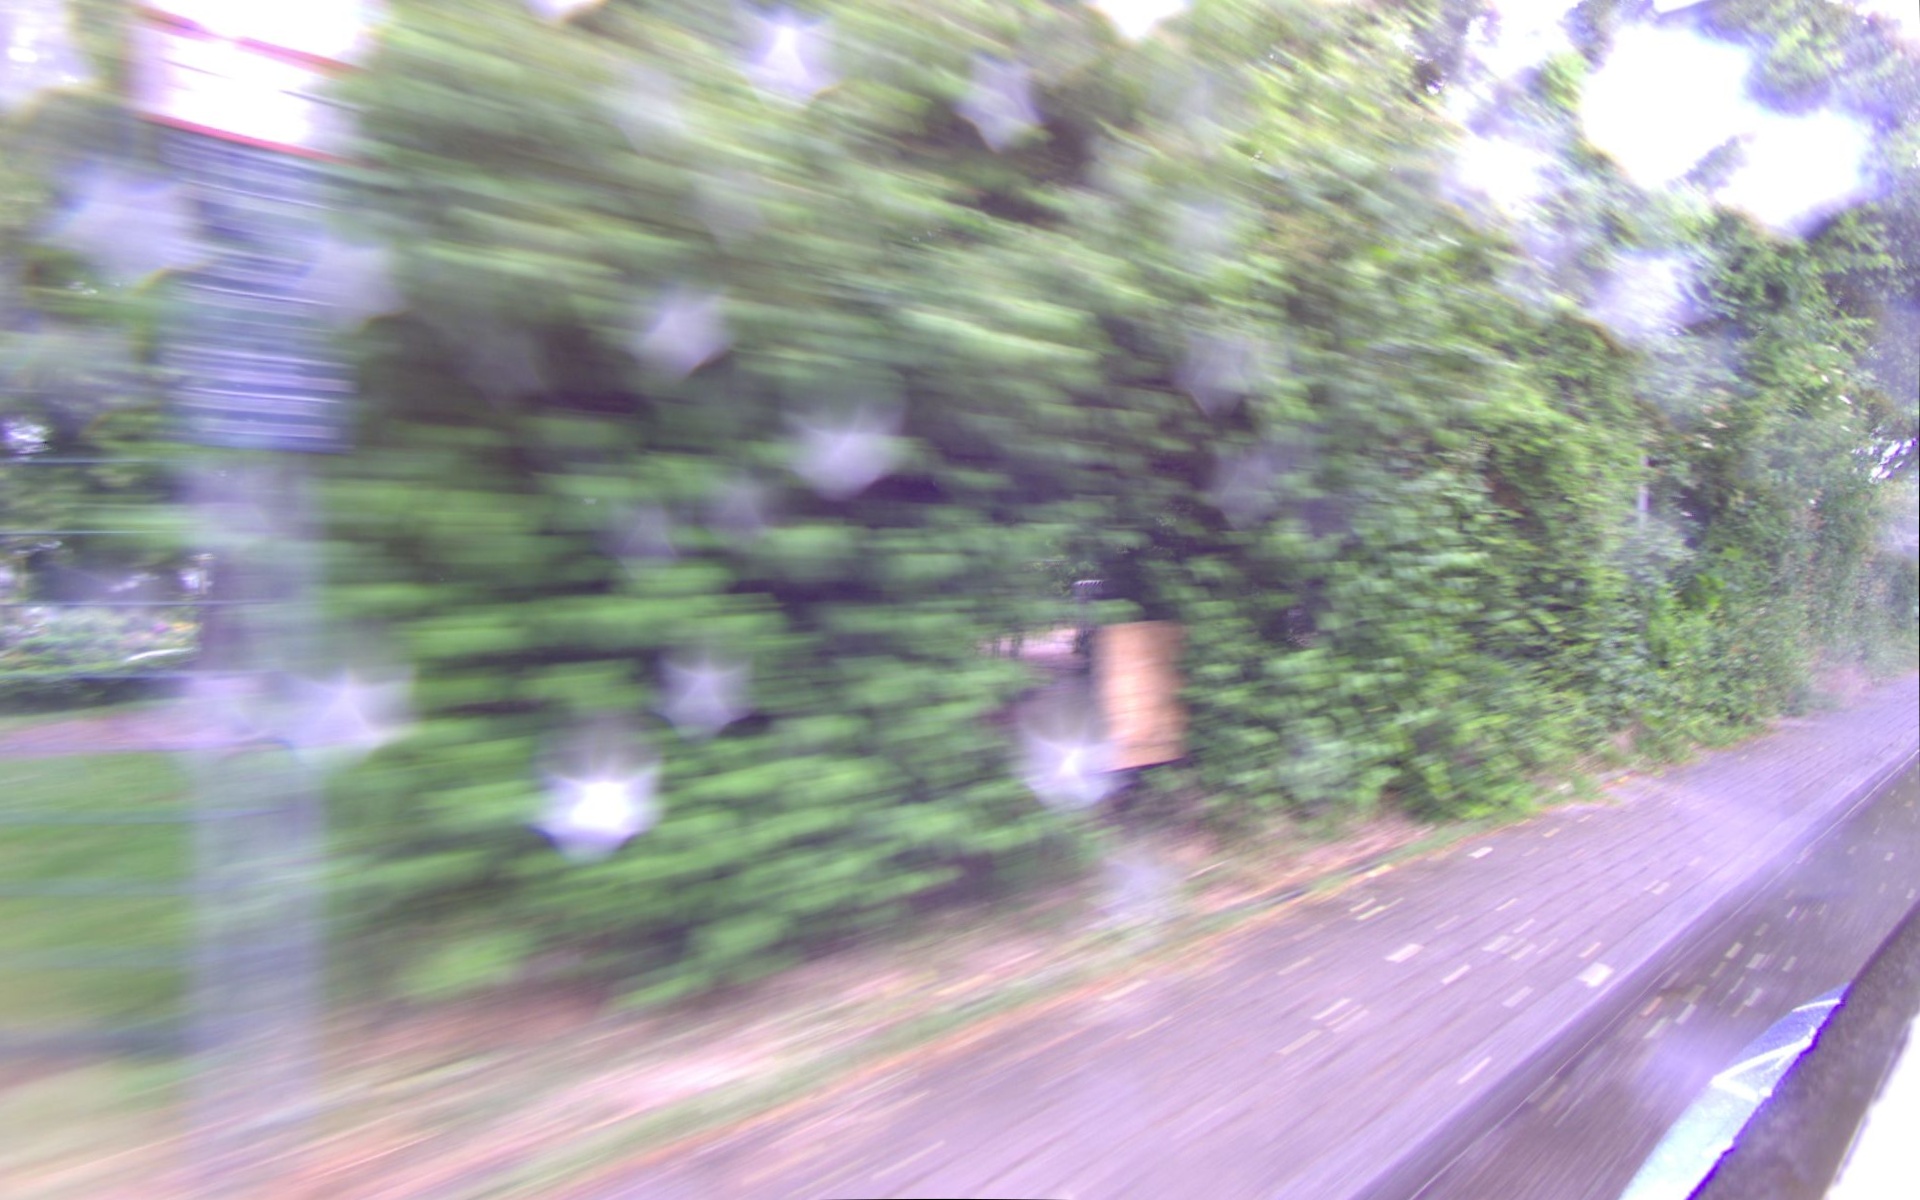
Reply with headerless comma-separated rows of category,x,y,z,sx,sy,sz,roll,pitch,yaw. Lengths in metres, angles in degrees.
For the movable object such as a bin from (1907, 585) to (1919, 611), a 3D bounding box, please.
movable object such as a bin,56.098,-0.106,58.920,0.782,1.453,1.238,0,5,-42
